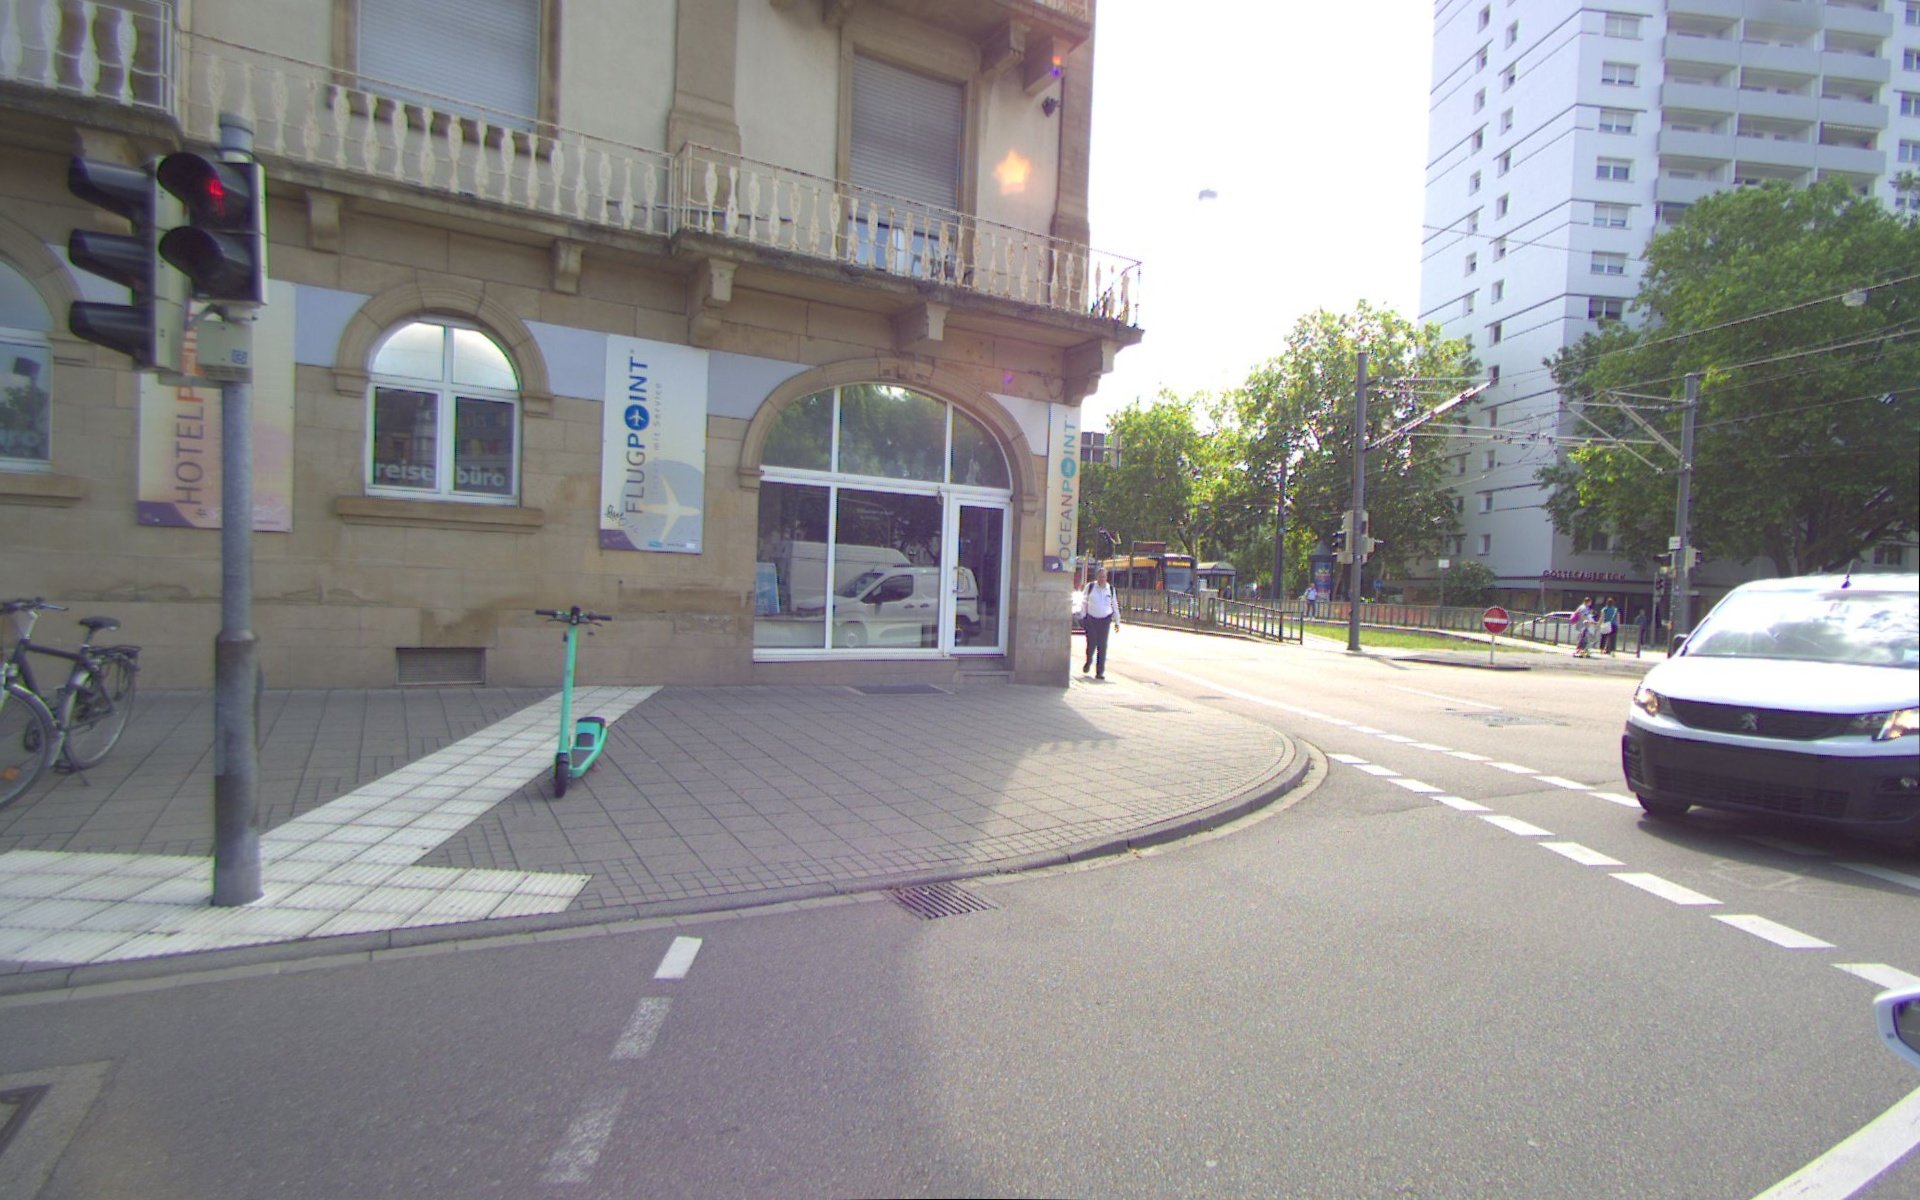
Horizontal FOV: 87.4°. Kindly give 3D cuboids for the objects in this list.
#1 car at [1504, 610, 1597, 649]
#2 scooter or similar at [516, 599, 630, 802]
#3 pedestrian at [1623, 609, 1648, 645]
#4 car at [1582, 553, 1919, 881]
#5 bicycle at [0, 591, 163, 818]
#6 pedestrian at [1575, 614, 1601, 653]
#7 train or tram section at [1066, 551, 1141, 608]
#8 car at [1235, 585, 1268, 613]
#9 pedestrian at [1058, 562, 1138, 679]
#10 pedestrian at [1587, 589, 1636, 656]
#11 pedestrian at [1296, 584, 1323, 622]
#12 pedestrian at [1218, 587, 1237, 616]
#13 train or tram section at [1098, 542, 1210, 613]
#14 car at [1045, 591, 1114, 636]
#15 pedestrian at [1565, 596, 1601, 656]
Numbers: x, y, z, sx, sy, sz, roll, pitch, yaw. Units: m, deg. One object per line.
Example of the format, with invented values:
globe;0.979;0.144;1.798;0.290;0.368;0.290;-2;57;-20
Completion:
car;27.295;1.328;46.455;3.518;1.564;1.552;3;1;37
scooter or similar;-2.550;0.616;6.715;0.473;1.161;1.250;3;3;-12
pedestrian;31.289;1.245;46.518;0.525;1.620;0.783;2;1;-8
car;6.609;0.646;7.373;4.236;1.799;1.802;0;1;-33
bicycle;-5.141;0.531;5.749;0.473;1.066;1.436;2;3;-20
pedestrian;17.849;0.937;28.549;0.412;1.077;0.437;2;1;4
train or tram section;9.967;-1.438;71.146;2.752;3.632;10.393;3;1;-6
car;30.449;-0.164;104.968;1.779;2.812;4.274;2;1;-6
pedestrian;2.336;0.335;17.051;0.895;1.884;0.798;5;1;-30
pedestrian;19.426;0.665;29.962;0.814;1.924;0.845;2;1;-6
pedestrian;17.329;0.138;49.755;0.835;1.804;1.044;2;1;-5
pedestrian;16.745;0.096;62.831;0.844;1.798;0.876;2;1;-6
train or tram section;11.127;-1.292;59.471;2.763;3.632;13.003;3;1;-6
car;4.227;0.454;36.080;1.608;1.458;3.639;2;1;-7
pedestrian;18.083;0.740;29.167;0.613;1.688;0.676;2;0;3
